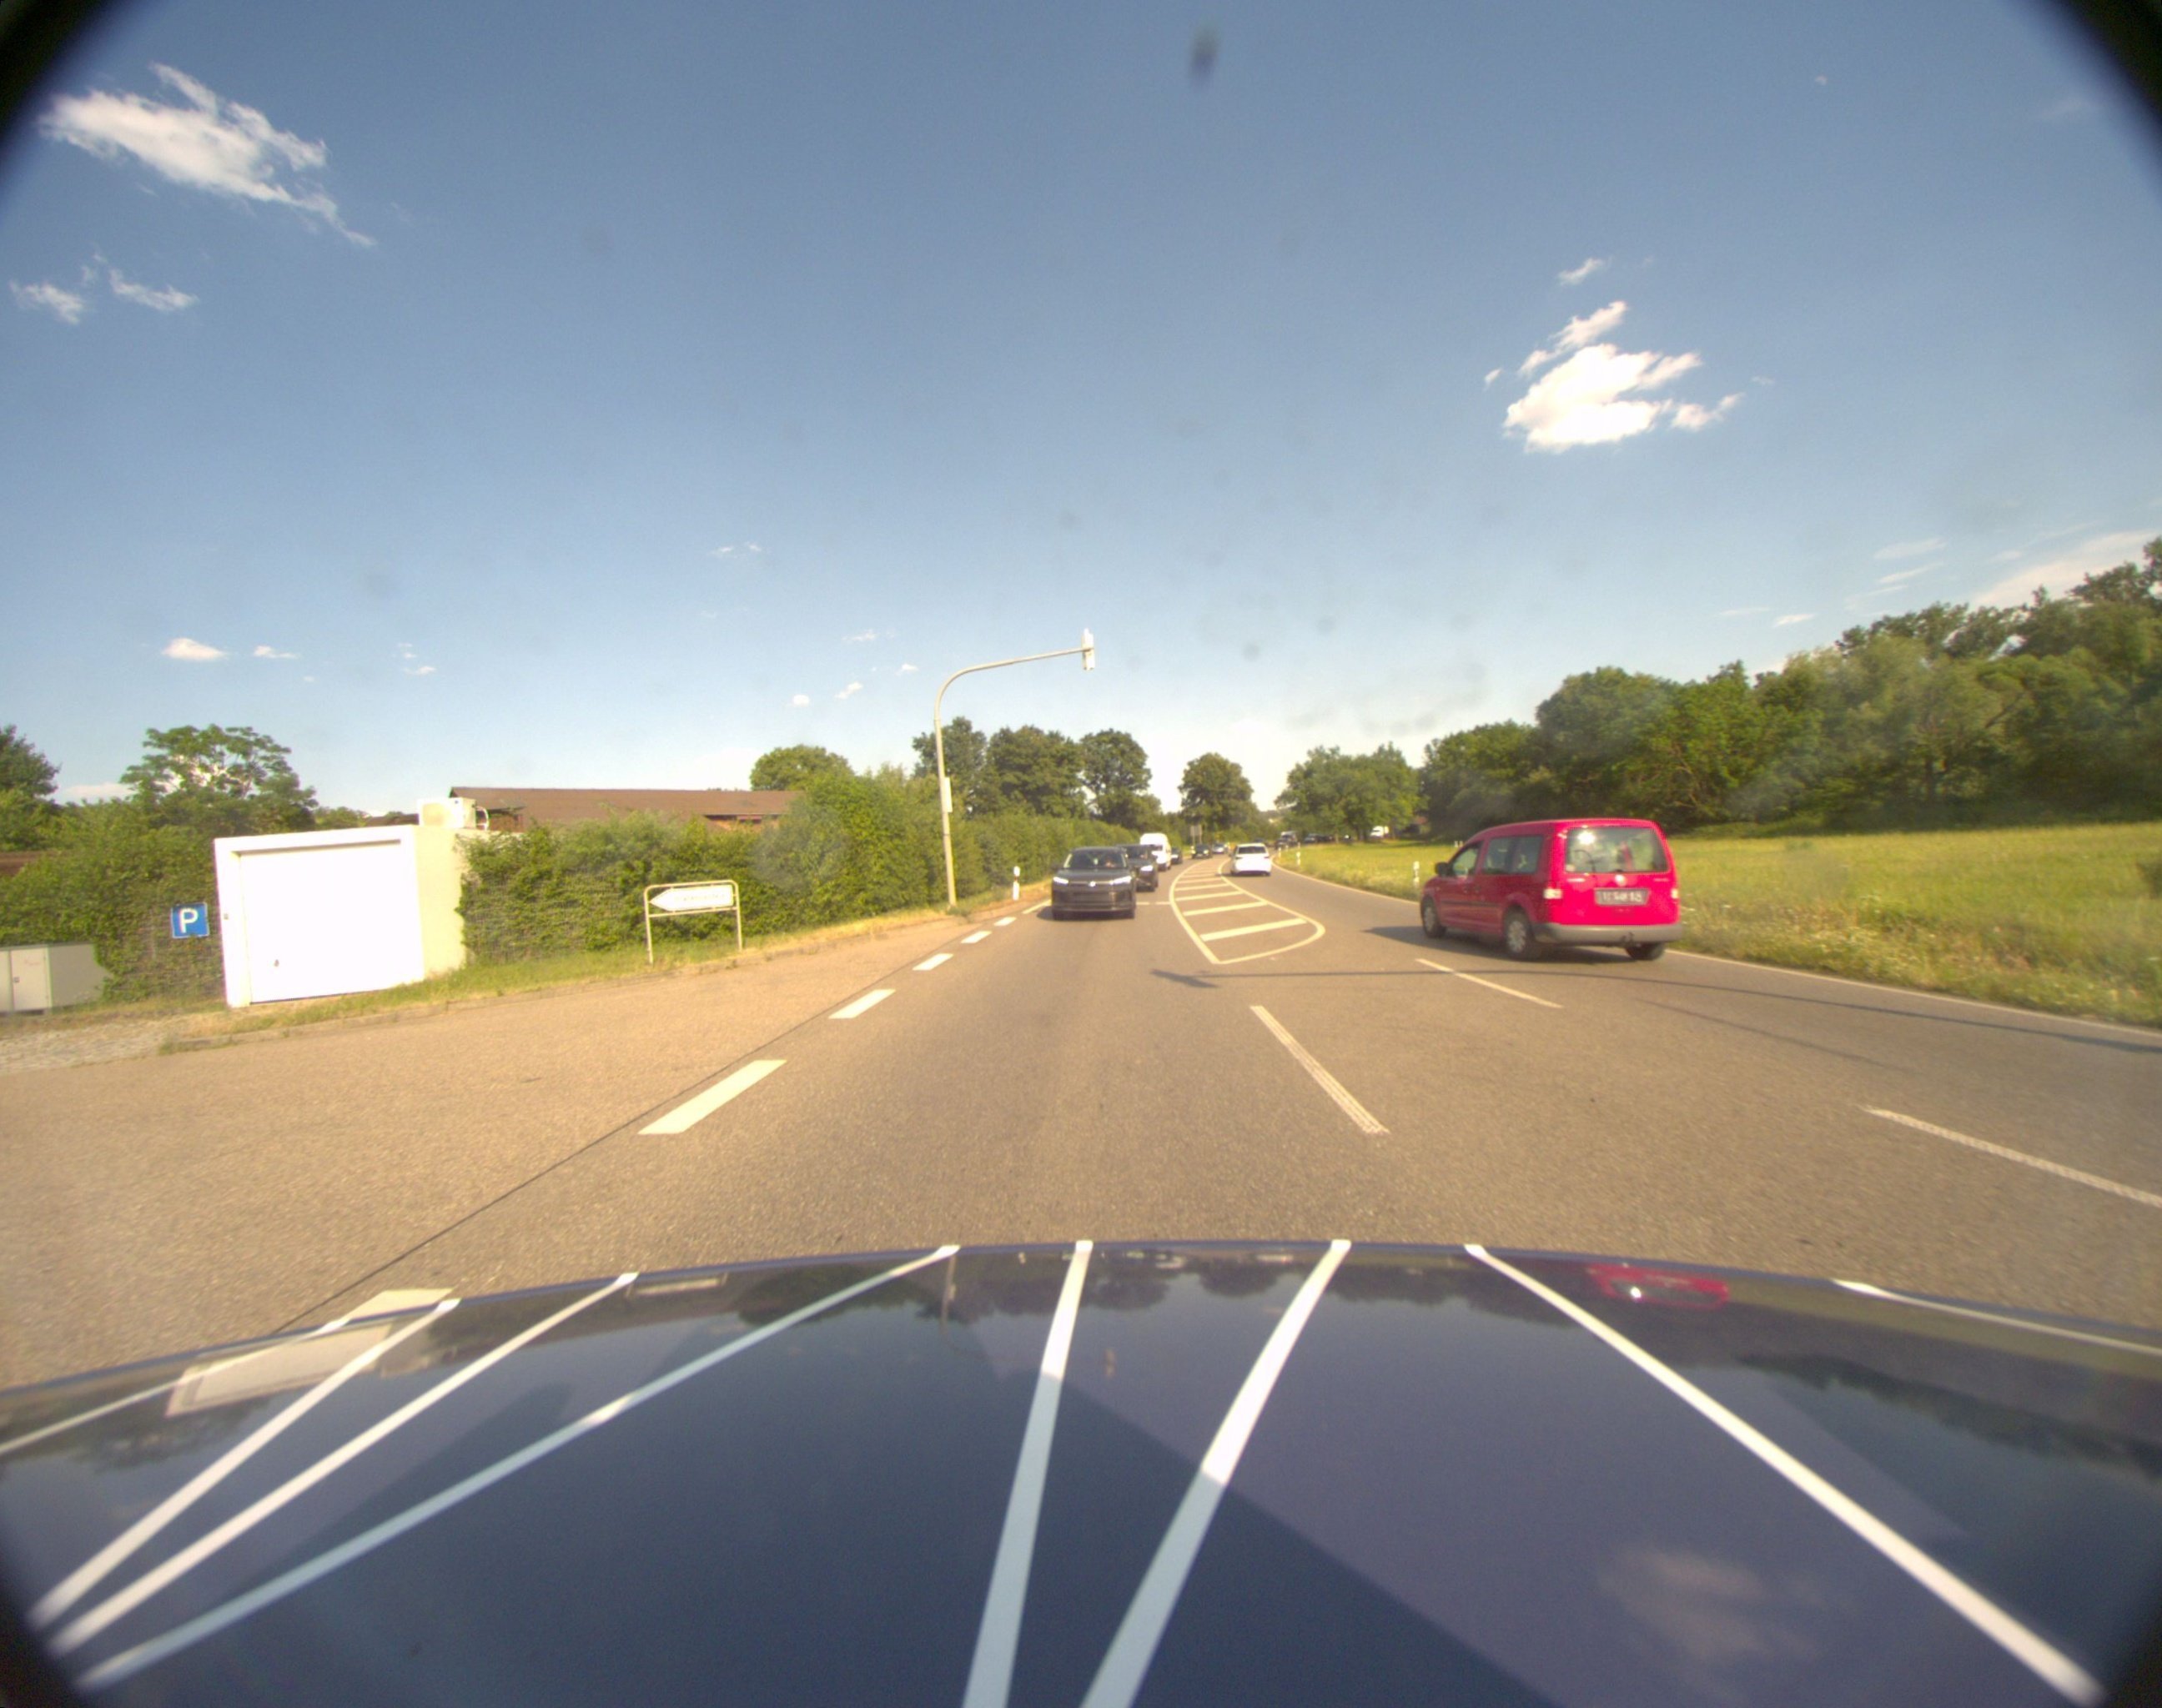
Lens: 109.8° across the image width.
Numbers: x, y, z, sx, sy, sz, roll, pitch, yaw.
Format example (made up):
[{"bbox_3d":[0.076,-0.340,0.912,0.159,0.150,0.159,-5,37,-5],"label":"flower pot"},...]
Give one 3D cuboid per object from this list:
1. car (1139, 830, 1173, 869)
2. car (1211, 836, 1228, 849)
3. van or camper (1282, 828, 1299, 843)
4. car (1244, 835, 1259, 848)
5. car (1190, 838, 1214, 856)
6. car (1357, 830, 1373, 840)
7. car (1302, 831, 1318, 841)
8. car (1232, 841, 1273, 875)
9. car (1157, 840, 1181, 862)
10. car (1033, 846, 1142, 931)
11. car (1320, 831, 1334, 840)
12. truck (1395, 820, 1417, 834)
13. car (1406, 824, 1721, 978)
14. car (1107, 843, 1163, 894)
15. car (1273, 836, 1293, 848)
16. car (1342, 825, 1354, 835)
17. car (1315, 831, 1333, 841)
[{"bbox_3d":[4.752,-0.327,47.907,1.843,2.338,4.791,-1,1,9],"label":"car"},{"bbox_3d":[17.271,-1.409,94.696,1.632,1.550,3.421,0,2,19],"label":"car"},{"bbox_3d":[37.891,-3.369,137.416,2.030,2.461,5.085,-4,1,26],"label":"van or camper"},{"bbox_3d":[26.584,-1.905,118.521,1.638,1.888,3.510,-4,1,23],"label":"car"},{"bbox_3d":[12.296,-0.700,76.907,1.671,1.718,3.673,-1,1,20],"label":"car"},{"bbox_3d":[60.782,-4.165,162.533,1.995,1.846,4.007,-4,1,39],"label":"car"},{"bbox_3d":[44.732,-3.520,148.396,1.995,1.543,4.006,-4,1,32],"label":"car"},{"bbox_3d":[8.594,0.202,38.360,1.883,1.577,4.334,-1,0,12],"label":"car"},{"bbox_3d":[7.023,-0.277,60.569,1.692,1.718,3.670,-1,1,9],"label":"car"},{"bbox_3d":[0.285,0.668,17.121,1.864,1.633,4.003,-1,1,9],"label":"car"},{"bbox_3d":[51.767,-3.872,159.794,1.995,1.543,4.006,-4,1,31],"label":"car"},{"bbox_3d":[77.823,-6.483,181.926,2.918,3.194,6.694,-4,0,39],"label":"truck"},{"bbox_3d":[6.526,0.559,10.991,1.885,1.765,4.322,-1,0,1],"label":"car"},{"bbox_3d":[2.051,0.482,27.911,1.658,1.720,3.807,-1,0,9],"label":"car"},{"bbox_3d":[29.310,-1.750,110.136,1.928,1.577,4.080,0,1,29],"label":"car"},{"bbox_3d":[60.054,-5.387,170.888,1.405,2.002,3.240,-4,1,35],"label":"car"},{"bbox_3d":[45.313,-3.406,141.654,1.995,1.543,4.007,-4,1,33],"label":"car"}]
